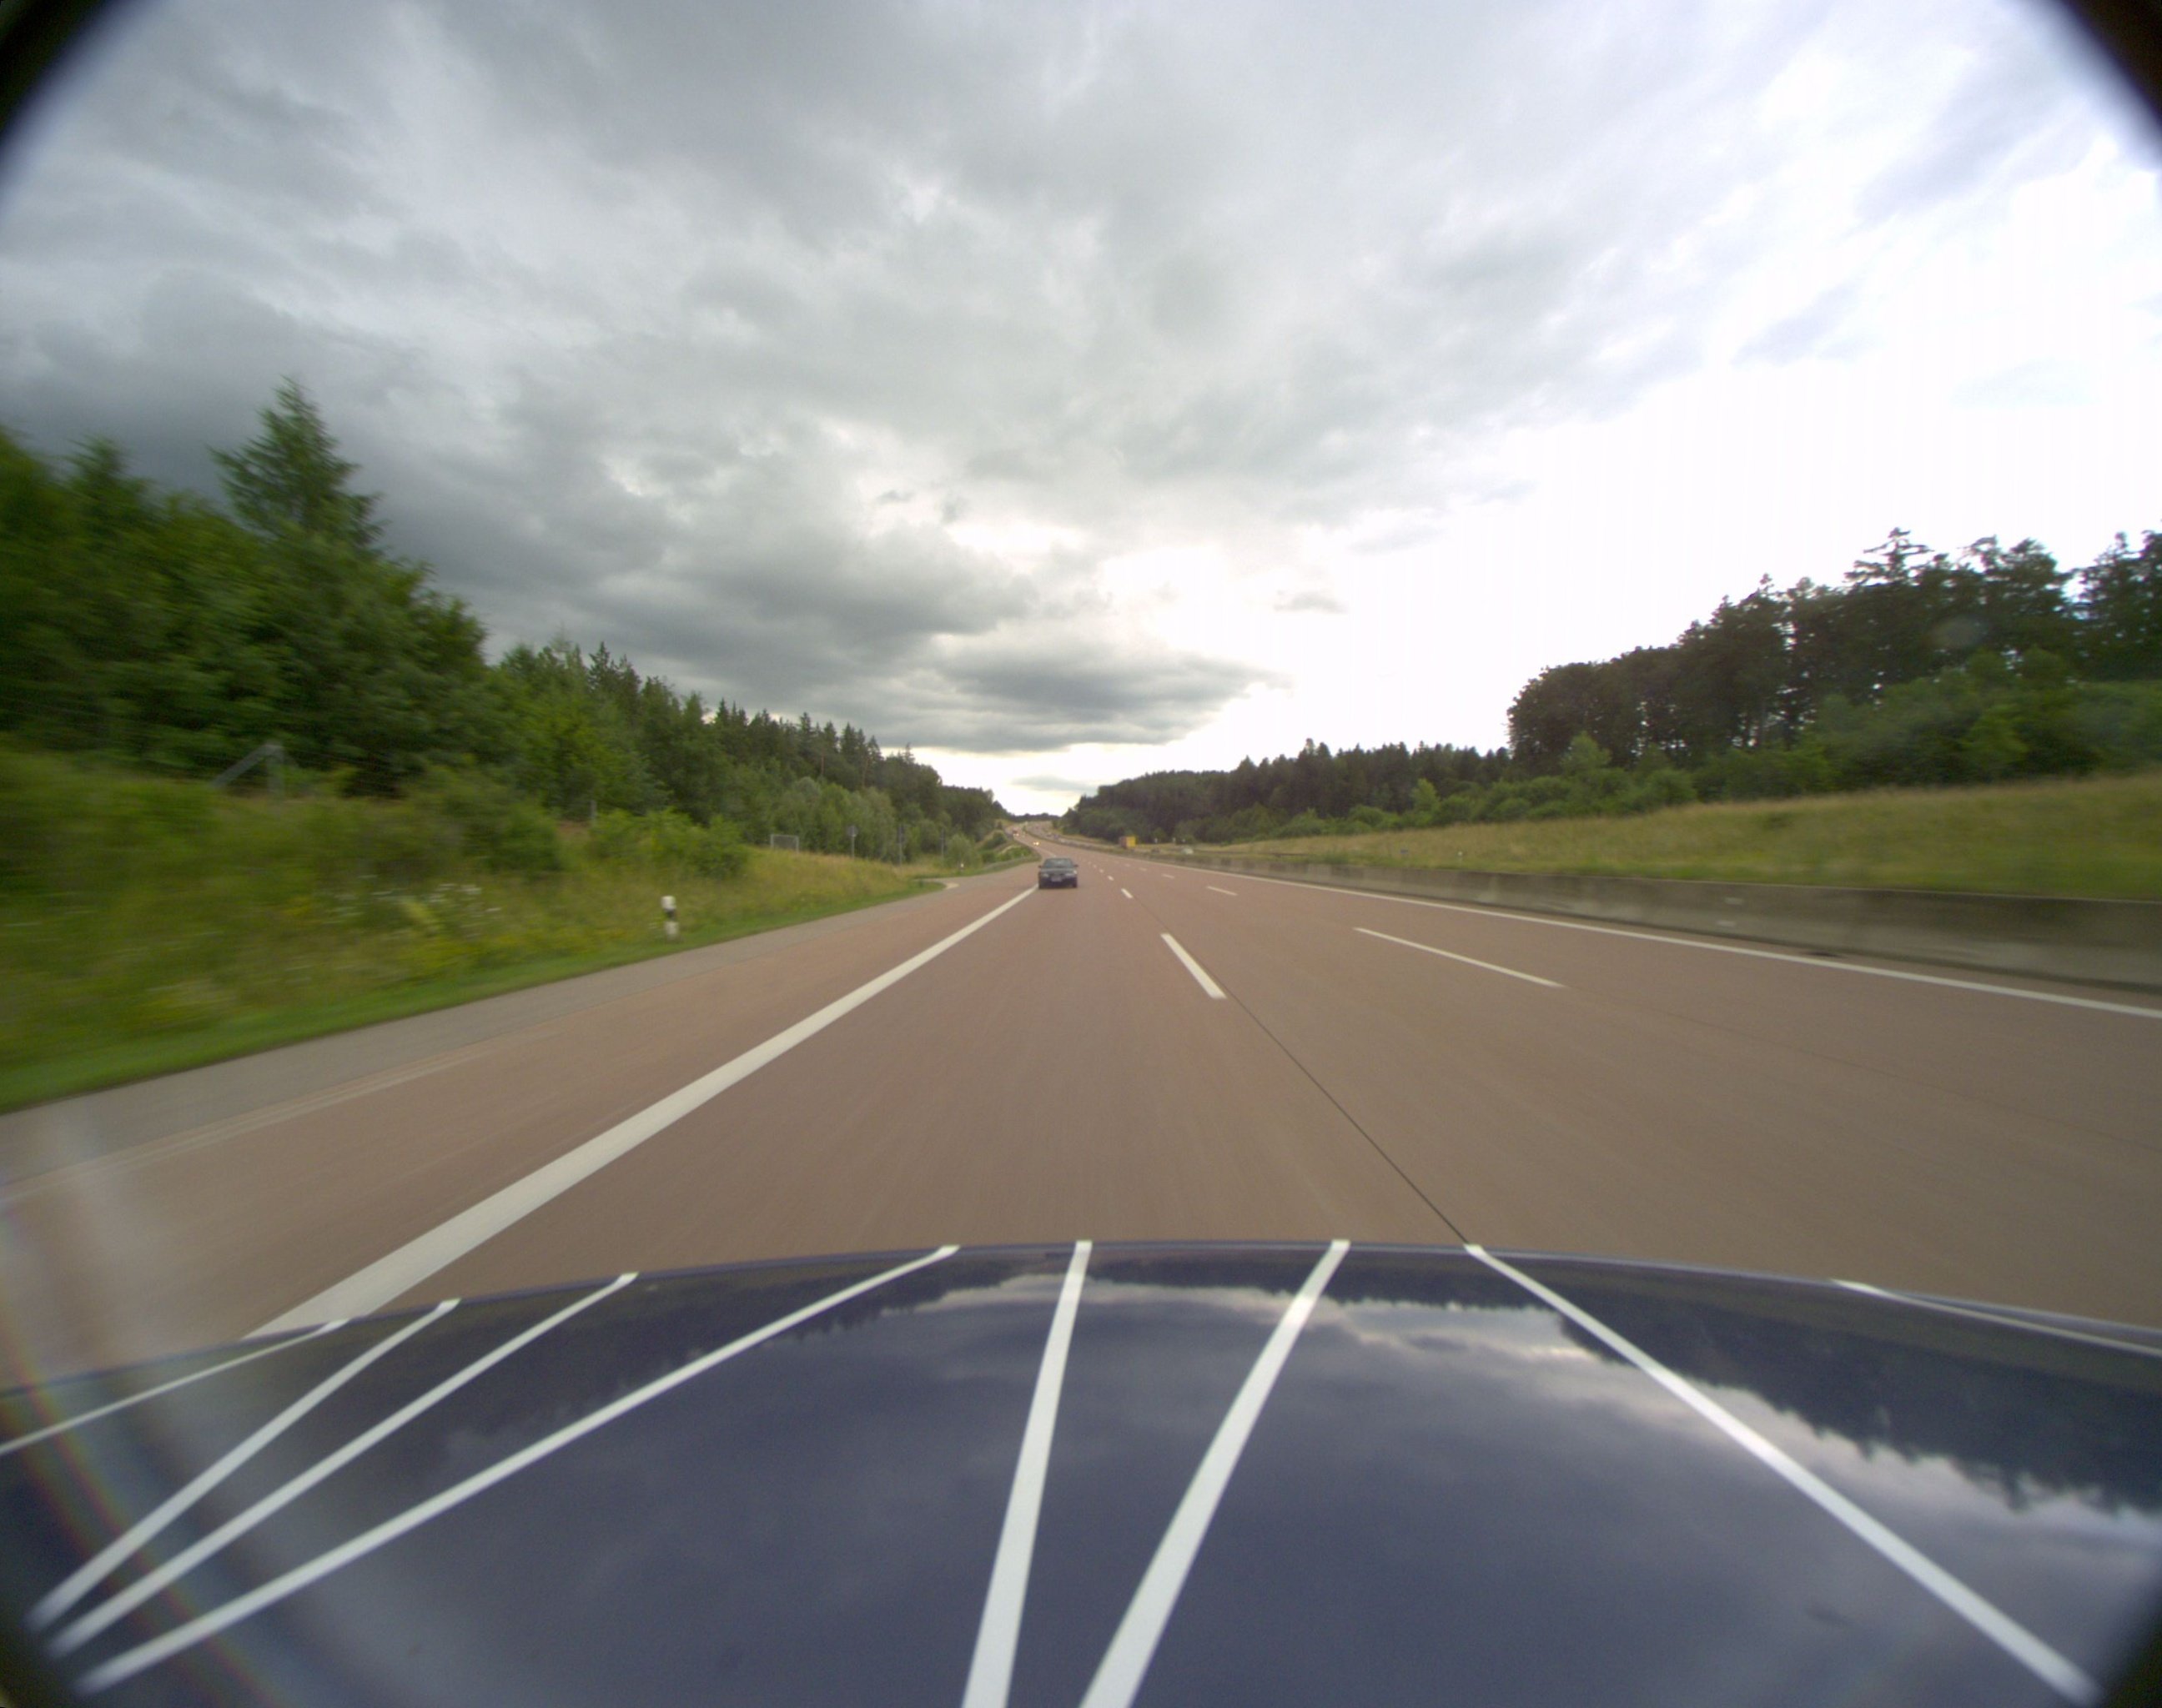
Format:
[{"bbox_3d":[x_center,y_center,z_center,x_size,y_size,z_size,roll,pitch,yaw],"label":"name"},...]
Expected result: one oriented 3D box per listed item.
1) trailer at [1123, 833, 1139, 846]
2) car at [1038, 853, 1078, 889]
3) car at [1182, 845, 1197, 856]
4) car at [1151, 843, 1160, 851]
[{"bbox_3d":[15.457,-4.565,235.296,3.042,4.019,14.522,-2,2,-3],"label":"trailer"},{"bbox_3d":[-1.025,0.749,35.425,1.676,1.395,4.231,-1,2,0],"label":"car"},{"bbox_3d":[17.919,-0.567,125.580,1.674,1.517,4.823,-2,2,-2],"label":"car"},{"bbox_3d":[18.059,-1.657,184.332,1.767,1.629,4.378,-2,2,-1],"label":"car"}]
